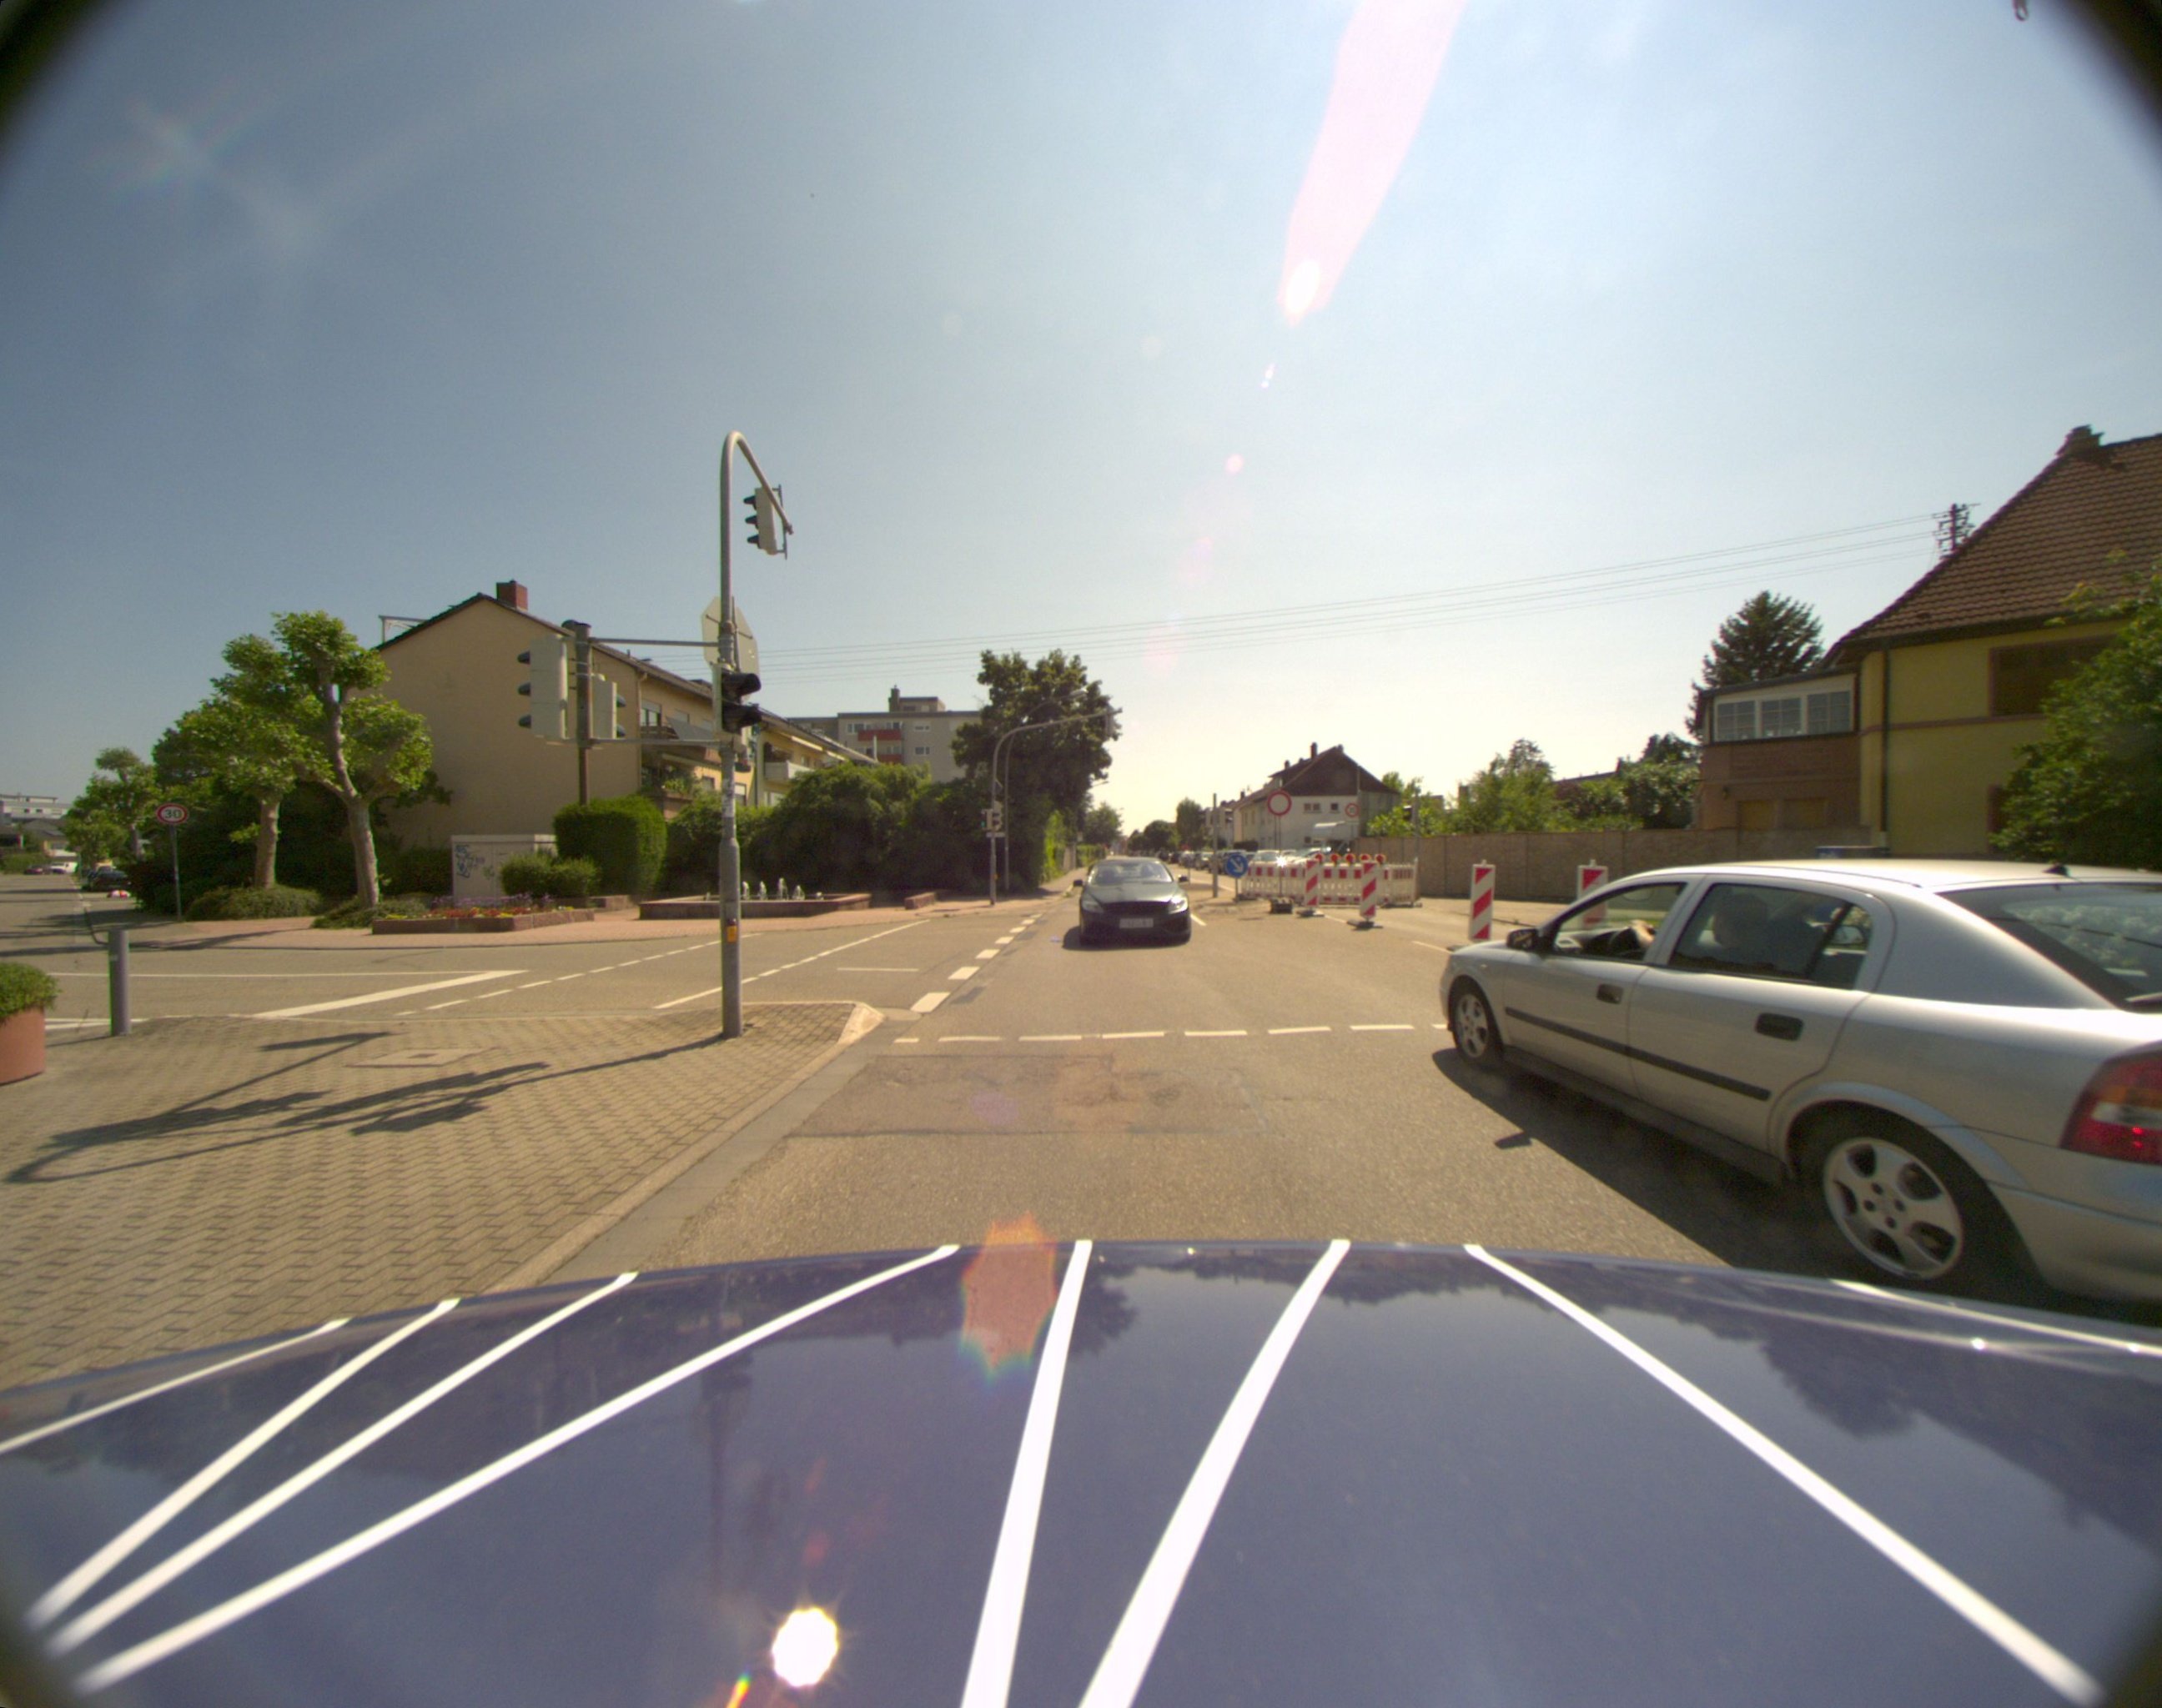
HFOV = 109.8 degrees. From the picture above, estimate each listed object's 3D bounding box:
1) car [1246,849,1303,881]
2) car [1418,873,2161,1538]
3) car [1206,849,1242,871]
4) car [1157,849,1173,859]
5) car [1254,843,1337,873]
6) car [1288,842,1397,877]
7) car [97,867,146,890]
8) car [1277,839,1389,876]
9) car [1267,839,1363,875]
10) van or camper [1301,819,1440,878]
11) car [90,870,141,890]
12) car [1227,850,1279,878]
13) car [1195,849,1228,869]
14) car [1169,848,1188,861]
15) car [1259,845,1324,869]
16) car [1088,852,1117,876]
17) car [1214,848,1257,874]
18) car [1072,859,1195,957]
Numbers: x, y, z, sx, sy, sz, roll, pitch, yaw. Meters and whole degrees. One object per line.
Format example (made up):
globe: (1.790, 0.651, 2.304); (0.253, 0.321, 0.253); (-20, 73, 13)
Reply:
car: (9.727, 0.518, 38.608); (1.952, 1.491, 4.509); (1, 1, 3)
car: (3.326, 0.863, 3.550); (1.704, 1.395, 3.979); (-1, 0, -1)
car: (10.314, 0.416, 55.098); (1.862, 1.538, 4.177); (1, 1, 1)
car: (12.311, -0.024, 111.427); (1.739, 1.409, 3.916); (-1, 0, -1)
car: (13.847, 0.250, 49.132); (4.776, 1.853, 1.999); (-1, 1, -4)
car: (14.067, 0.282, 41.003); (5.115, 1.758, 2.130); (-1, 1, -7)
car: (-65.165, 1.623, 51.637); (3.988, 1.412, 1.719); (0, 1, 43)
car: (14.598, 0.198, 44.143); (5.781, 1.990, 2.131); (-1, 1, -6)
car: (14.318, 0.146, 46.662); (5.179, 2.076, 2.211); (-1, 1, -6)
van or camper: (14.608, -0.297, 38.529); (6.262, 2.827, 2.289); (-1, 1, -7)
car: (-73.141, 1.948, 57.616); (3.988, 1.412, 2.004); (0, 1, 43)
car: (9.870, 0.523, 43.896); (1.952, 1.491, 4.508); (1, 1, -1)
car: (10.673, 0.391, 62.435); (1.863, 1.538, 4.545); (1, 1, -1)
car: (11.730, 0.031, 91.754); (1.739, 1.504, 3.916); (-1, 0, -1)
car: (14.702, 0.176, 53.192); (3.999, 1.607, 1.767); (-1, 1, -5)
car: (1.459, 0.666, 54.076); (1.872, 1.586, 4.615); (-1, 0, -1)
car: (10.086, 0.425, 49.914); (1.863, 1.581, 4.228); (1, 1, -1)
car: (0.915, 0.880, 14.419); (1.889, 1.429, 4.839); (-2, 0, 2)
